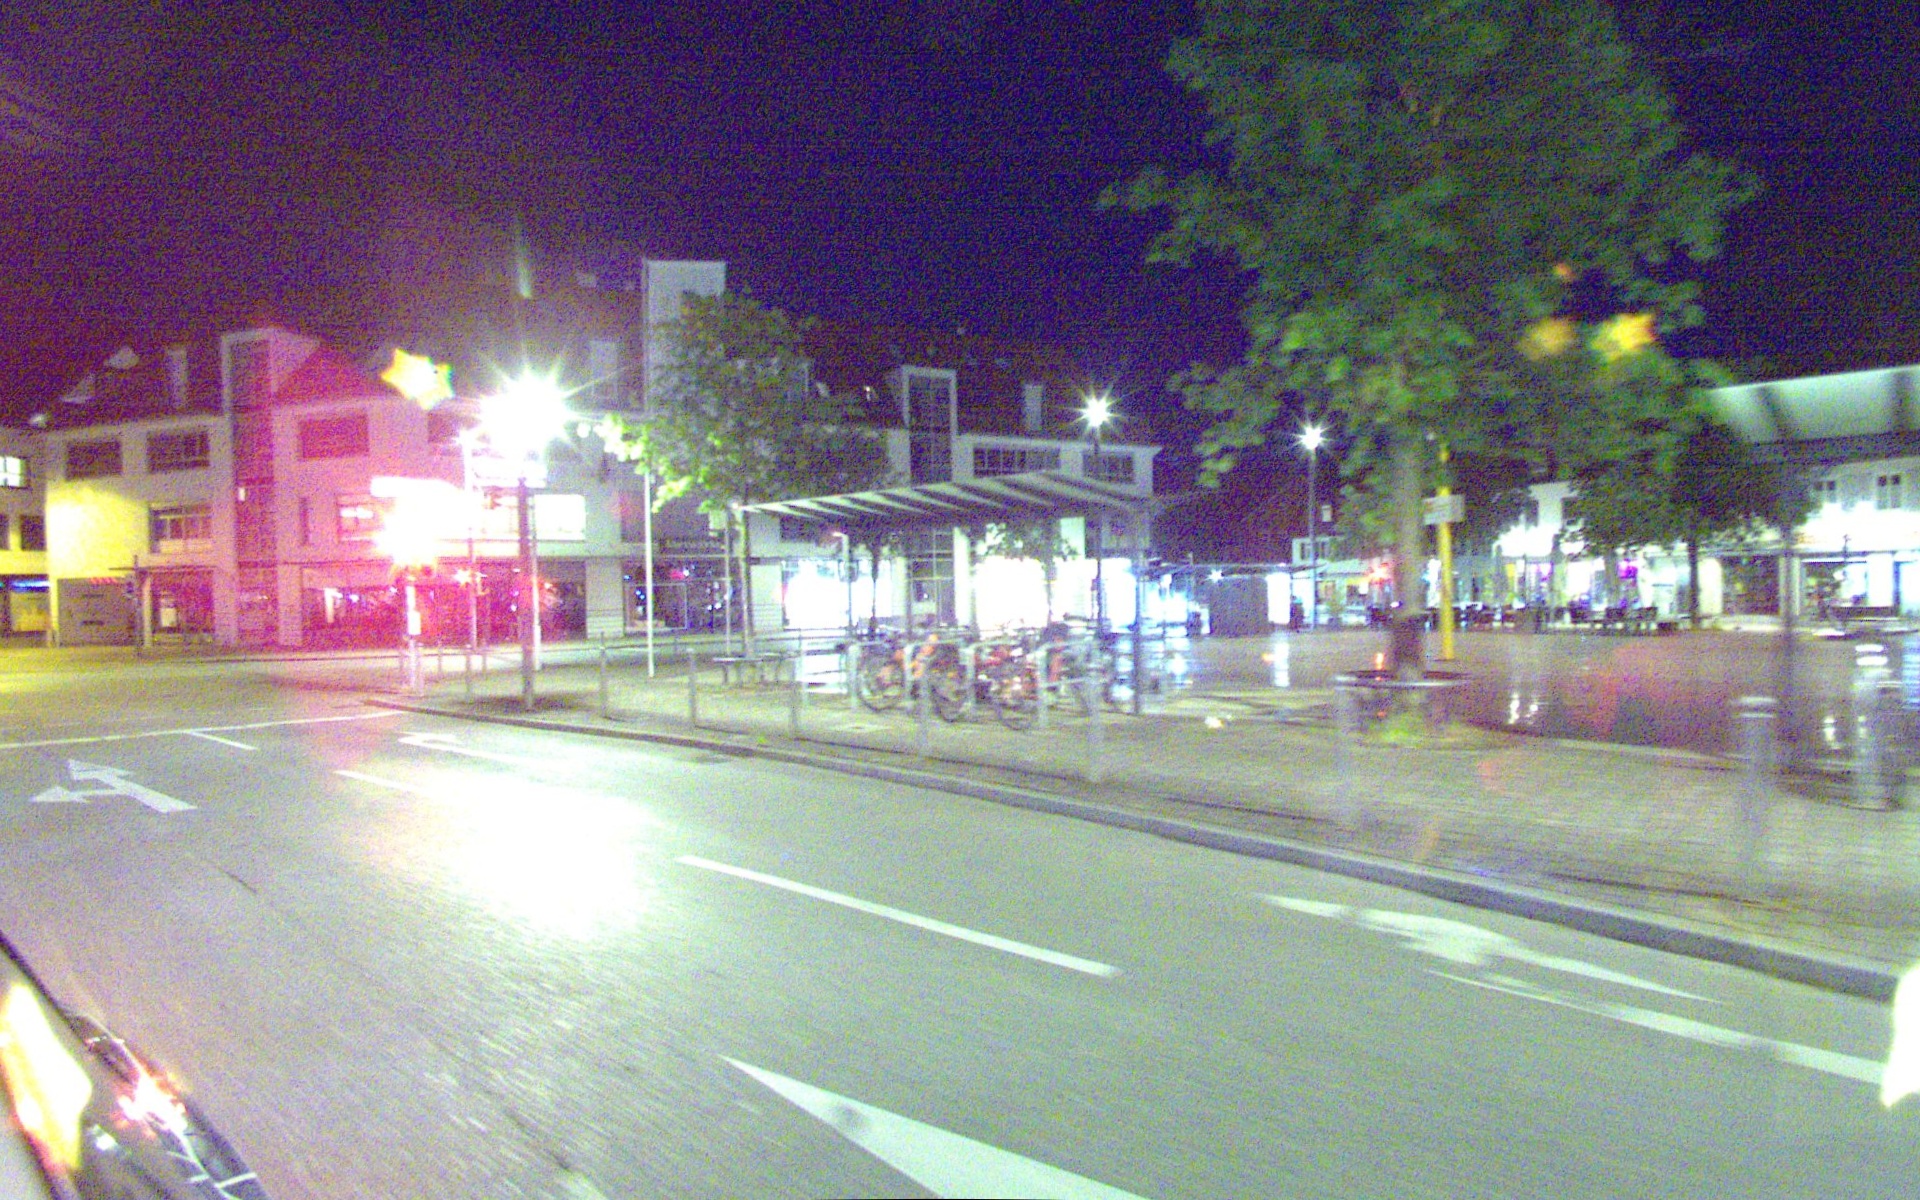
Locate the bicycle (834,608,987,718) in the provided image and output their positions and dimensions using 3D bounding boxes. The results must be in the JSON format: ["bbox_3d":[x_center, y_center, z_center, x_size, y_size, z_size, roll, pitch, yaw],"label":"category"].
[{"bbox_3d":[-0.592,0.736,12.661,1.813,1.166,0.787,-5,3,-44],"label":"bicycle"}]

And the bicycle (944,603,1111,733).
[{"bbox_3d":[0.749,0.681,10.813,1.715,1.175,0.787,-4,2,-44],"label":"bicycle"}]

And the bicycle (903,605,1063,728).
[{"bbox_3d":[0.284,0.696,11.386,1.715,1.166,0.787,-4,3,-44],"label":"bicycle"}]

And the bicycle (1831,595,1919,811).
[{"bbox_3d":[5.839,0.565,6.239,0.670,1.173,1.751,-2,0,40],"label":"bicycle"}]
